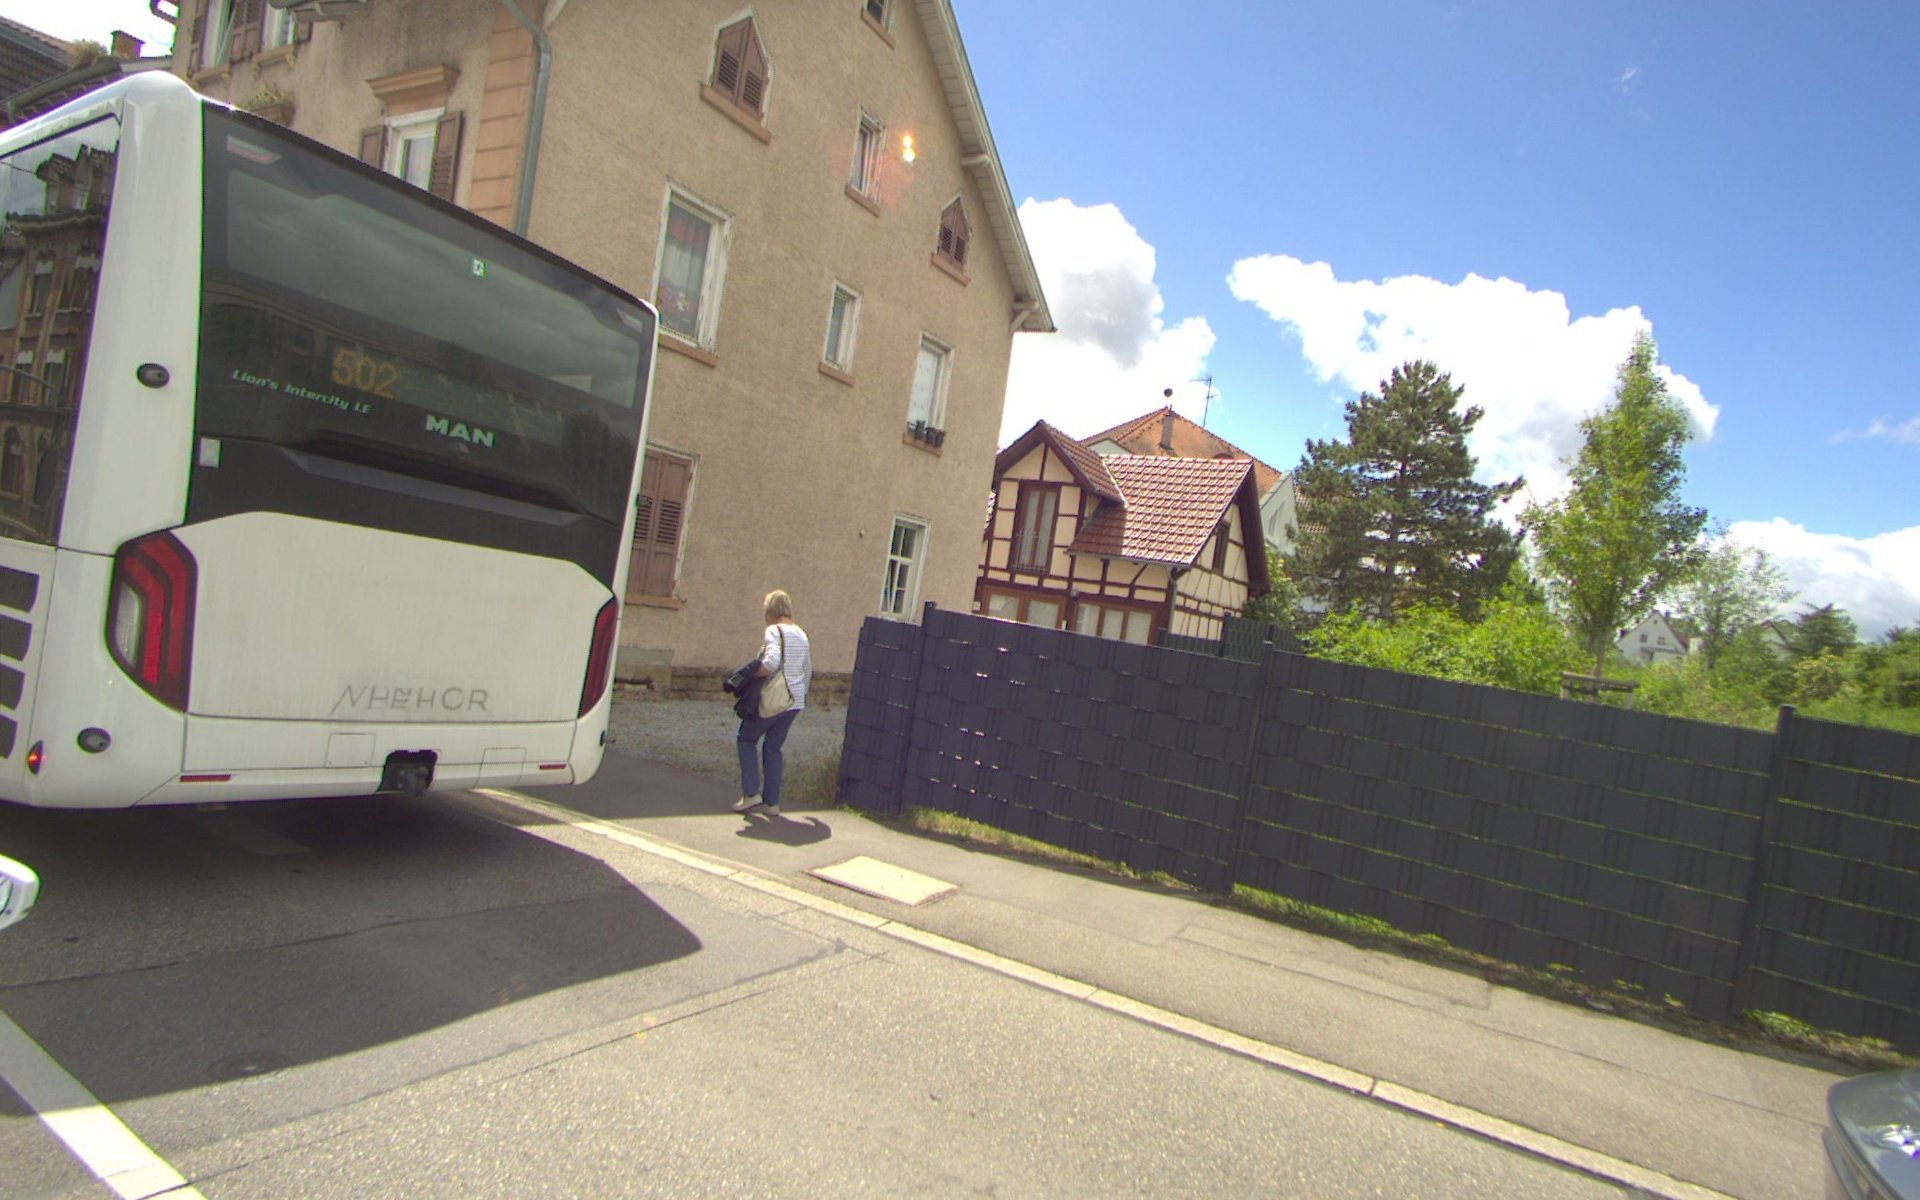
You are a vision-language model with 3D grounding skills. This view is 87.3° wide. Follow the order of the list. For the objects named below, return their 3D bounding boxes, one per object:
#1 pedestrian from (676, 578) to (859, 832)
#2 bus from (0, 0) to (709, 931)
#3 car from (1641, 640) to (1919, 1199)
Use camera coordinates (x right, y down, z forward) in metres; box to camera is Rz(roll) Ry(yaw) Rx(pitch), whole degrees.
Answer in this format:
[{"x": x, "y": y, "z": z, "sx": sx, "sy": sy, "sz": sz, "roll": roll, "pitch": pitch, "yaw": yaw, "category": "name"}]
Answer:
[{"x": -1.324, "y": 0.701, "z": 7.005, "sx": 0.700, "sy": 1.581, "sz": 0.860, "roll": 7, "pitch": 1, "yaw": 31, "category": "pedestrian"}, {"x": -7.439, "y": -0.963, "z": 7.750, "sx": 12.255, "sy": 3.194, "sz": 2.676, "roll": 7, "pitch": 0, "yaw": 32, "category": "bus"}, {"x": 3.367, "y": 1.197, "z": 0.678, "sx": 4.605, "sy": 1.631, "sz": 1.924, "roll": 7, "pitch": -2, "yaw": 32, "category": "car"}]
